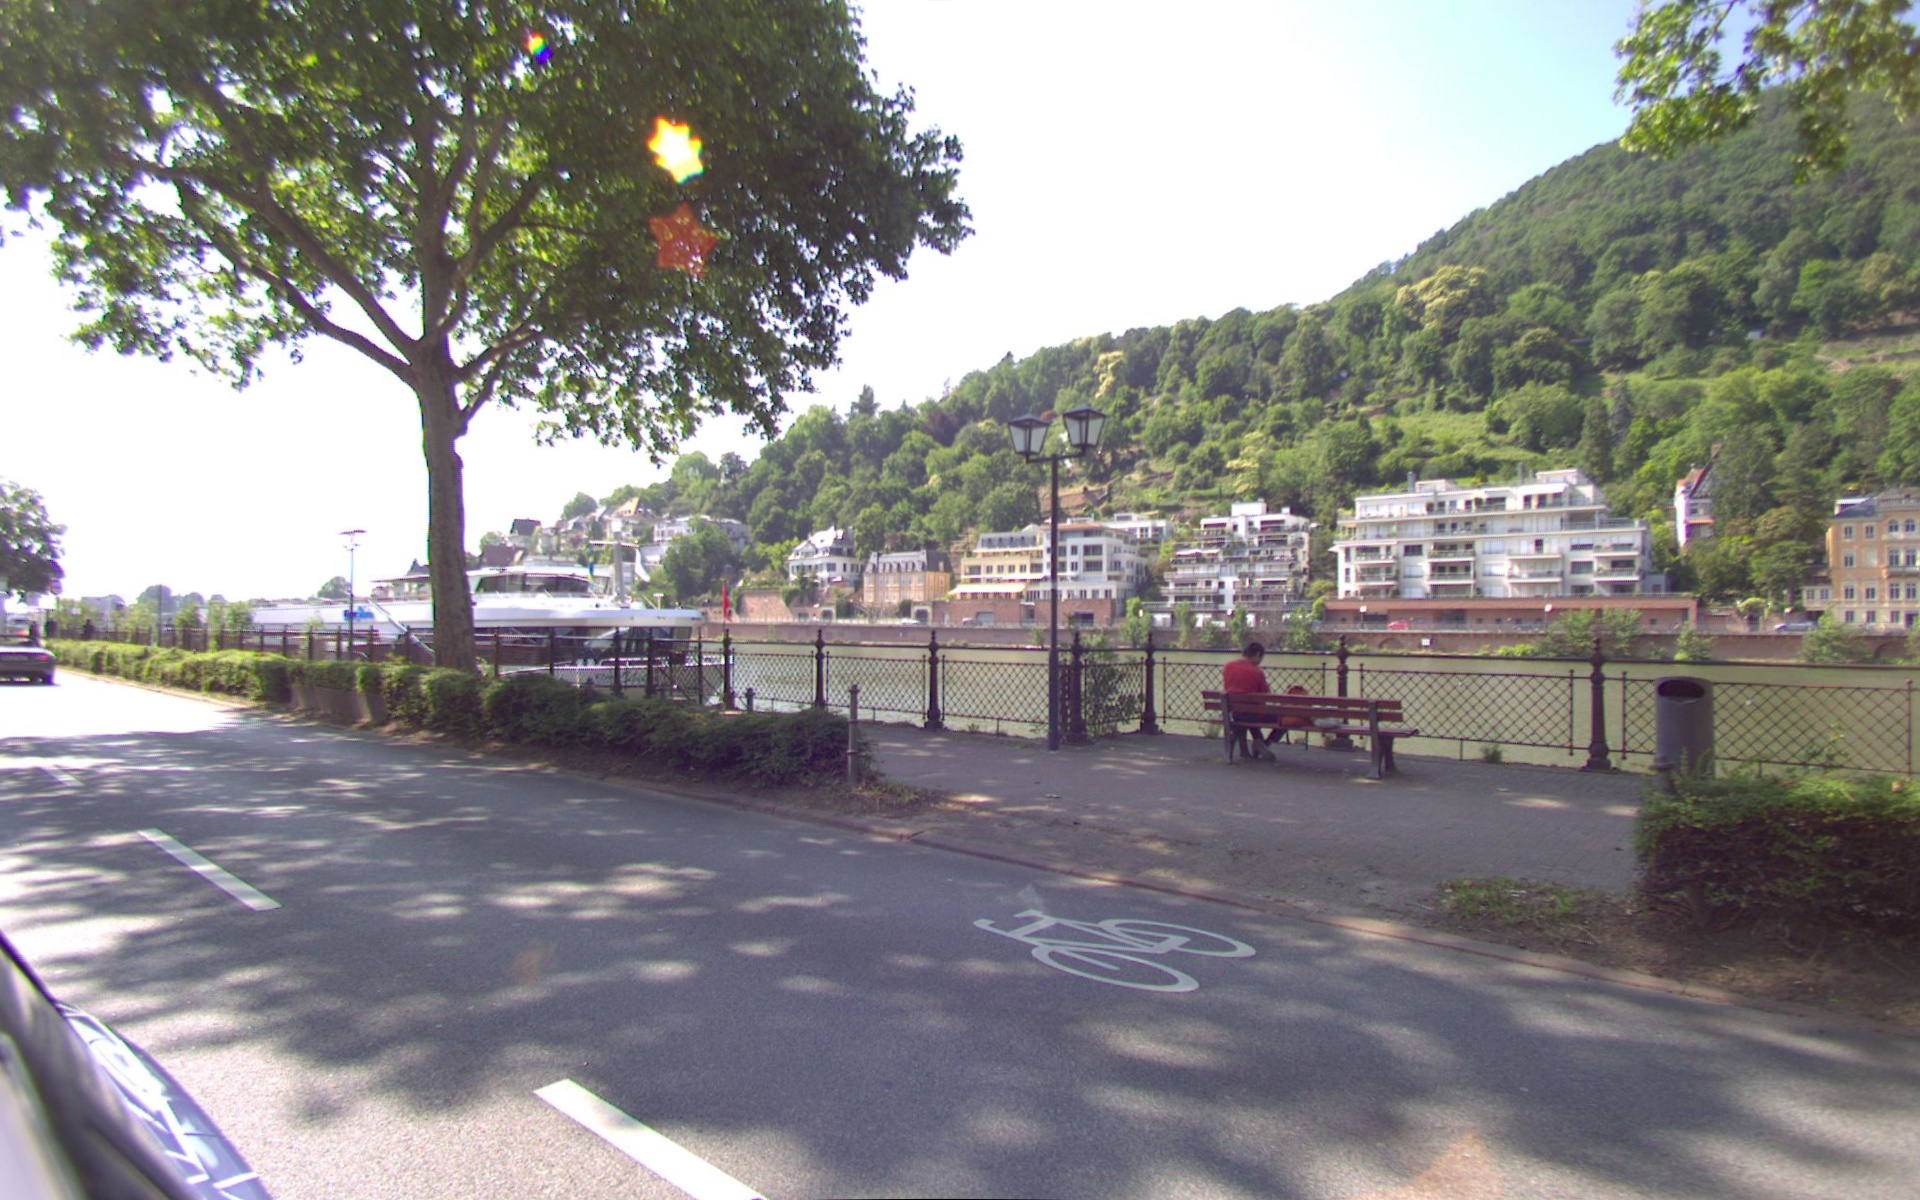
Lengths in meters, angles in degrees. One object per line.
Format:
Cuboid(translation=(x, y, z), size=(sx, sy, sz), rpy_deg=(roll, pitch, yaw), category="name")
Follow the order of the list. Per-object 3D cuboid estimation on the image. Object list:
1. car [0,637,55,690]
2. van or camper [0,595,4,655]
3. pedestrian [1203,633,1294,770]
Cuboid(translation=(-23.867, 1.530, 25.027), size=(3.483, 1.220, 1.681), rpy_deg=(-1, -5, 40), category="car")
Cuboid(translation=(-38.236, 1.119, 38.291), size=(6.261, 2.682, 2.298), rpy_deg=(-1, -3, 41), category="van or camper")
Cuboid(translation=(2.992, 1.015, 10.483), size=(0.656, 1.318, 0.695), rpy_deg=(-1, 0, 42), category="pedestrian")
